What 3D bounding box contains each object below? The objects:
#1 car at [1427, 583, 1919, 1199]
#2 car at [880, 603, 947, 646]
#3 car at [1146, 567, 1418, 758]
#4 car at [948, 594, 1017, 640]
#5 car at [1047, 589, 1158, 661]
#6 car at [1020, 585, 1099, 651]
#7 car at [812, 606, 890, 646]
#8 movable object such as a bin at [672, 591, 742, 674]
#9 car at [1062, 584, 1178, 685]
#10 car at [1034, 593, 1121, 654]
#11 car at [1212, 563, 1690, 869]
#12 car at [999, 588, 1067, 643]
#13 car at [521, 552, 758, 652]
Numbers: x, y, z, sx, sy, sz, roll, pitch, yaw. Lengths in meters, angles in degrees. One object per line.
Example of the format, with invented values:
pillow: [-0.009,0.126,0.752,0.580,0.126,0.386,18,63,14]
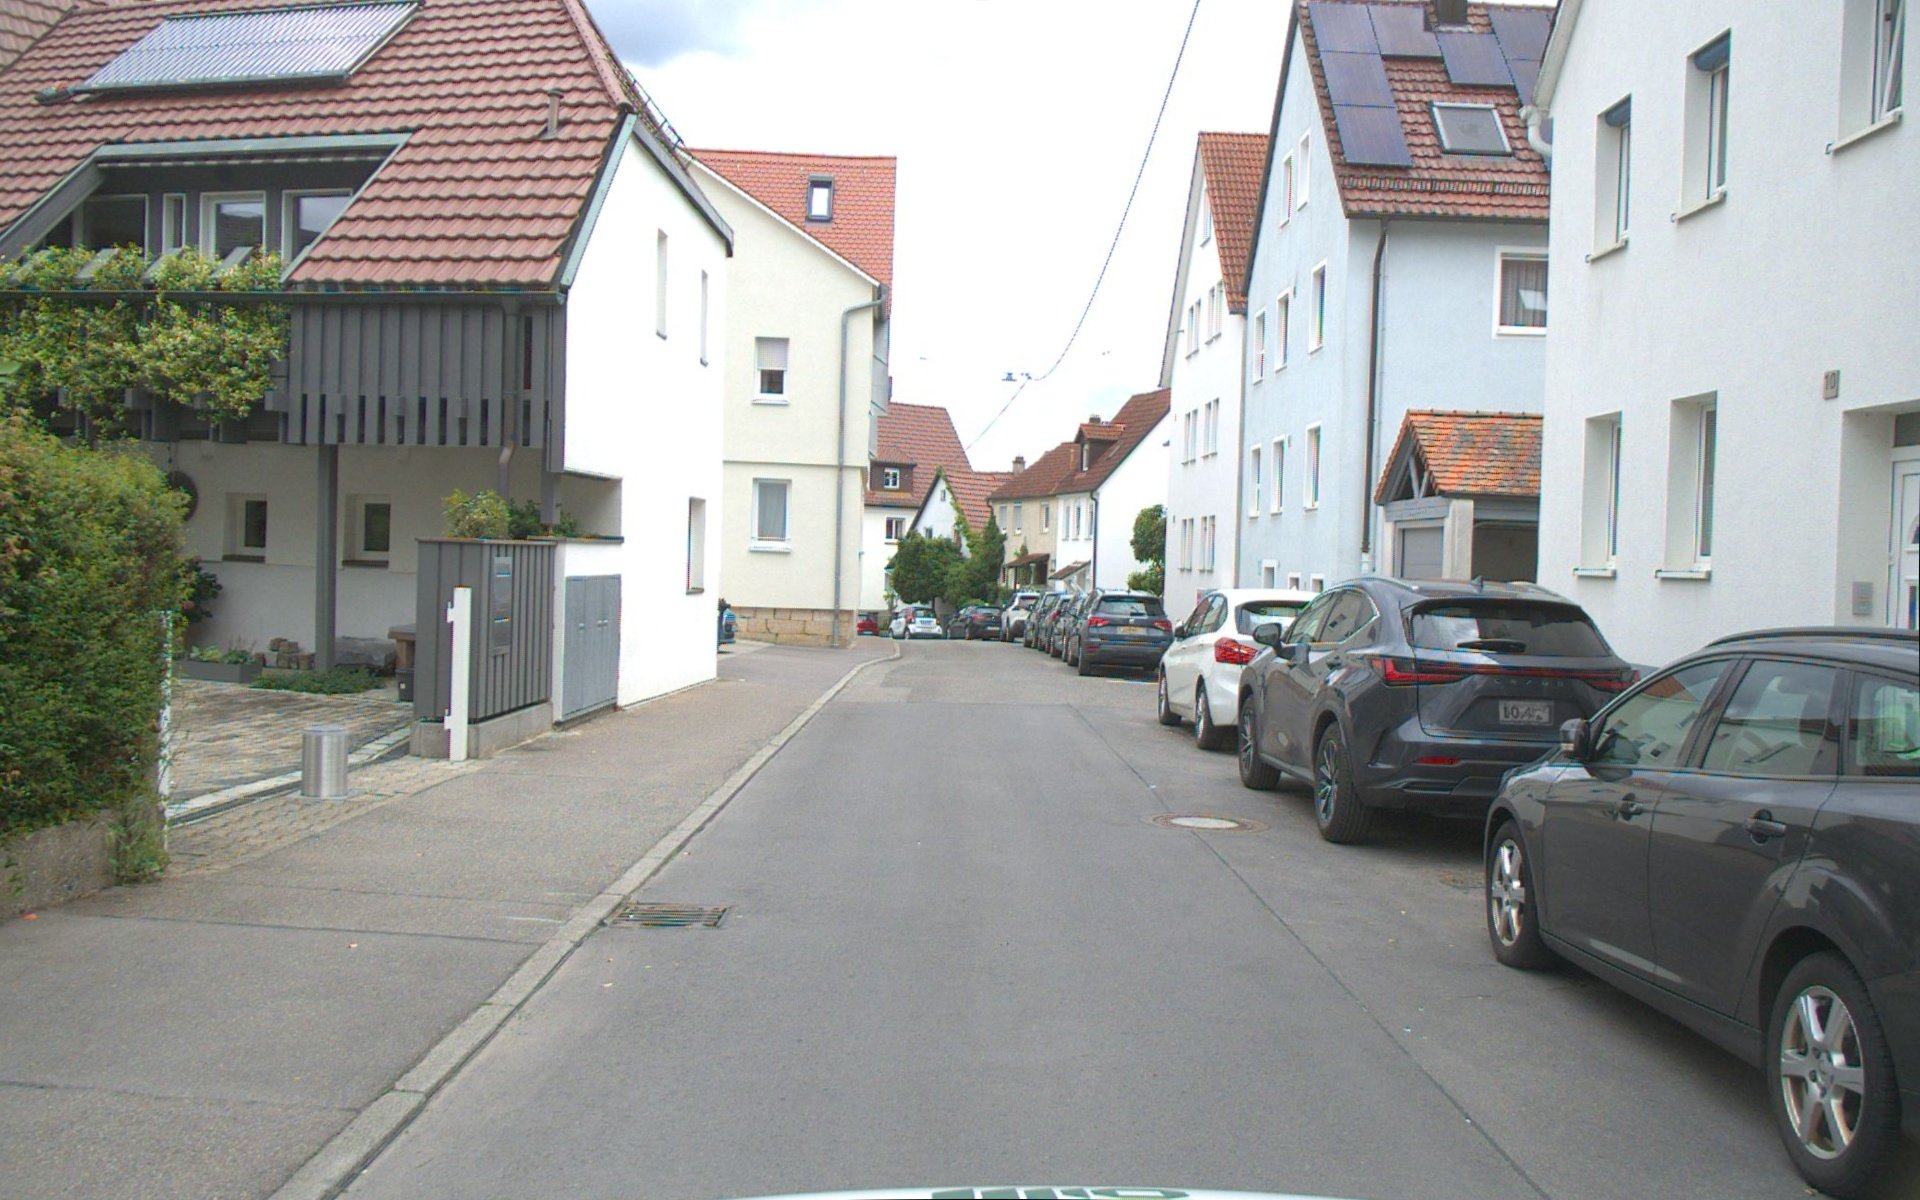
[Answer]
car: [3.265,0.754,5.736,1.908,1.534,4.820,2,1,0]
car: [-2.158,1.099,75.697,1.933,1.743,3.979,2,1,-19]
car: [3.225,0.538,17.602,1.953,1.643,4.879,3,1,1]
car: [0.878,0.706,66.813,1.959,1.743,3.987,1,-2,-12]
car: [2.975,0.501,35.500,1.879,1.434,4.654,0,0,-1]
car: [2.719,0.501,46.057,1.702,1.638,3.998,4,-1,-2]
car: [-5.379,1.267,81.075,1.978,1.713,3.950,-5,0,-35]
movable object such as a bin: [-3.515,0.449,22.992,0.602,1.094,0.752,4,0,21]
car: [2.893,0.571,30.773,1.717,1.656,4.535,3,1,1]
car: [2.857,0.571,40.840,1.760,1.376,4.074,2,-1,-1]
car: [3.127,0.635,11.716,1.825,1.661,4.900,2,0,-1]
car: [2.428,0.527,55.814,1.836,1.743,4.144,2,-1,-4]
car: [-5.699,0.051,29.740,3.653,1.436,2.121,5,-1,4]
